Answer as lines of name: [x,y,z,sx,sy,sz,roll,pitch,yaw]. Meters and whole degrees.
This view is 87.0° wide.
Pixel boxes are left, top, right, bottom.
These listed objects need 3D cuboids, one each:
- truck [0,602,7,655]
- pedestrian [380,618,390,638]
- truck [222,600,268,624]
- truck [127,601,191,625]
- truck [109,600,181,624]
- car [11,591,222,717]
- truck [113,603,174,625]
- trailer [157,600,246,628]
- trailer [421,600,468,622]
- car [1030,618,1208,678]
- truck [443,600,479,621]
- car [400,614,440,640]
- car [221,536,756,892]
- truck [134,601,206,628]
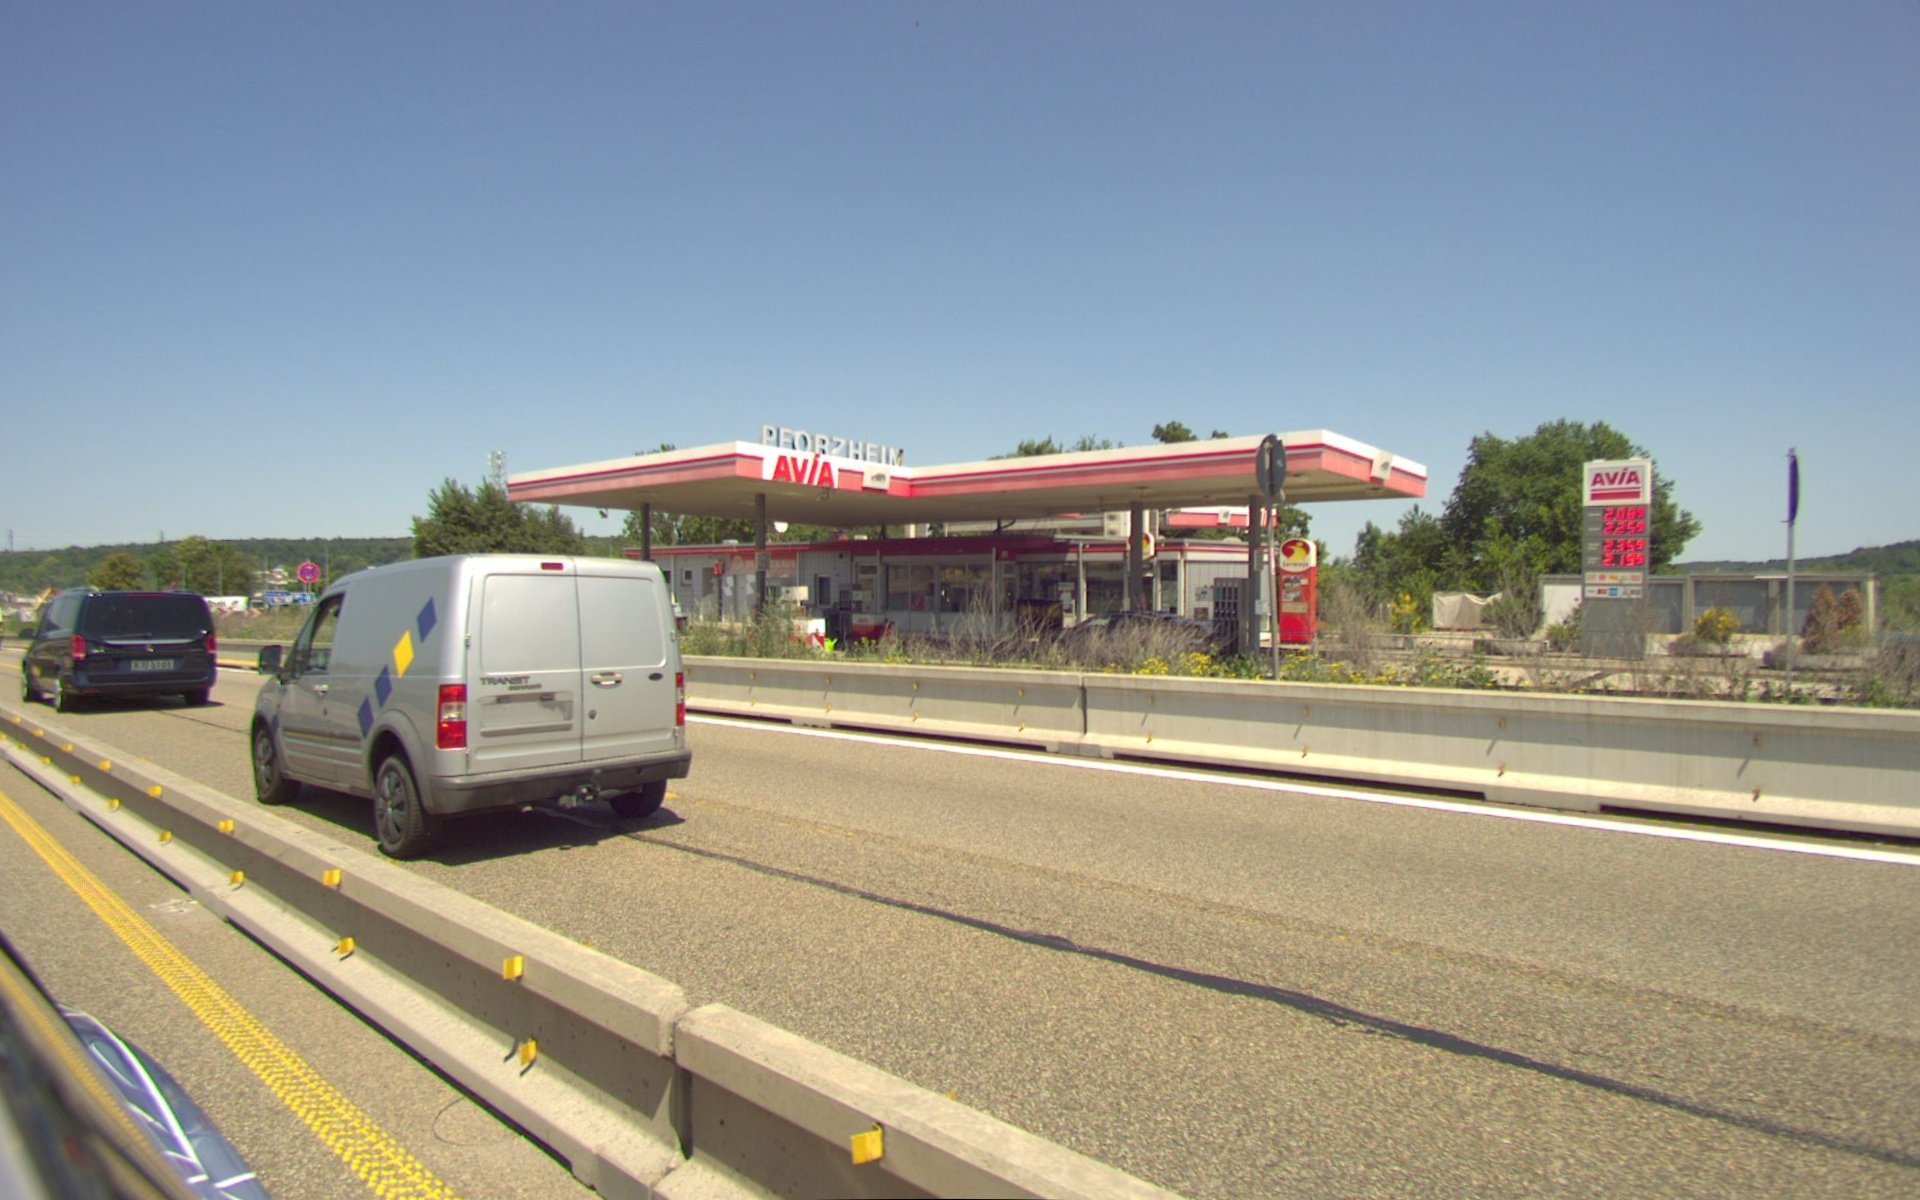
truck: [-54.222,1.599,55.425,6.488,2.807,2.216,-2,-1,40]
pedestrian: [-34.801,1.687,61.300,0.467,1.214,0.587,-1,-1,-35]
truck: [-122.601,2.037,173.649,5.647,3.644,2.585,-4,2,-8]
truck: [-149.589,2.497,189.031,9.134,3.701,2.867,-4,2,-5]
truck: [-161.628,2.369,200.841,11.343,3.701,2.534,-4,2,-5]
car: [-14.219,0.845,16.947,5.078,1.818,1.888,-2,-1,40]
truck: [-158.585,2.761,196.713,9.017,3.568,2.695,-4,2,-6]
trailer: [-129.614,2.374,172.961,12.560,3.812,2.624,-4,2,-5]
trailer: [-73.774,1.630,144.712,9.384,2.789,2.232,-2,0,39]
car: [4.056,1.200,26.191,4.314,1.422,1.732,-1,-3,42]
truck: [-69.669,1.483,141.354,5.624,2.789,2.248,-2,0,39]
car: [-33.248,1.652,62.349,1.478,1.342,4.199,-4,2,-19]
car: [-3.693,0.653,7.475,4.587,1.854,1.834,-2,-1,40]
truck: [-144.320,2.605,185.031,9.741,4.251,3.590,-4,2,-6]
